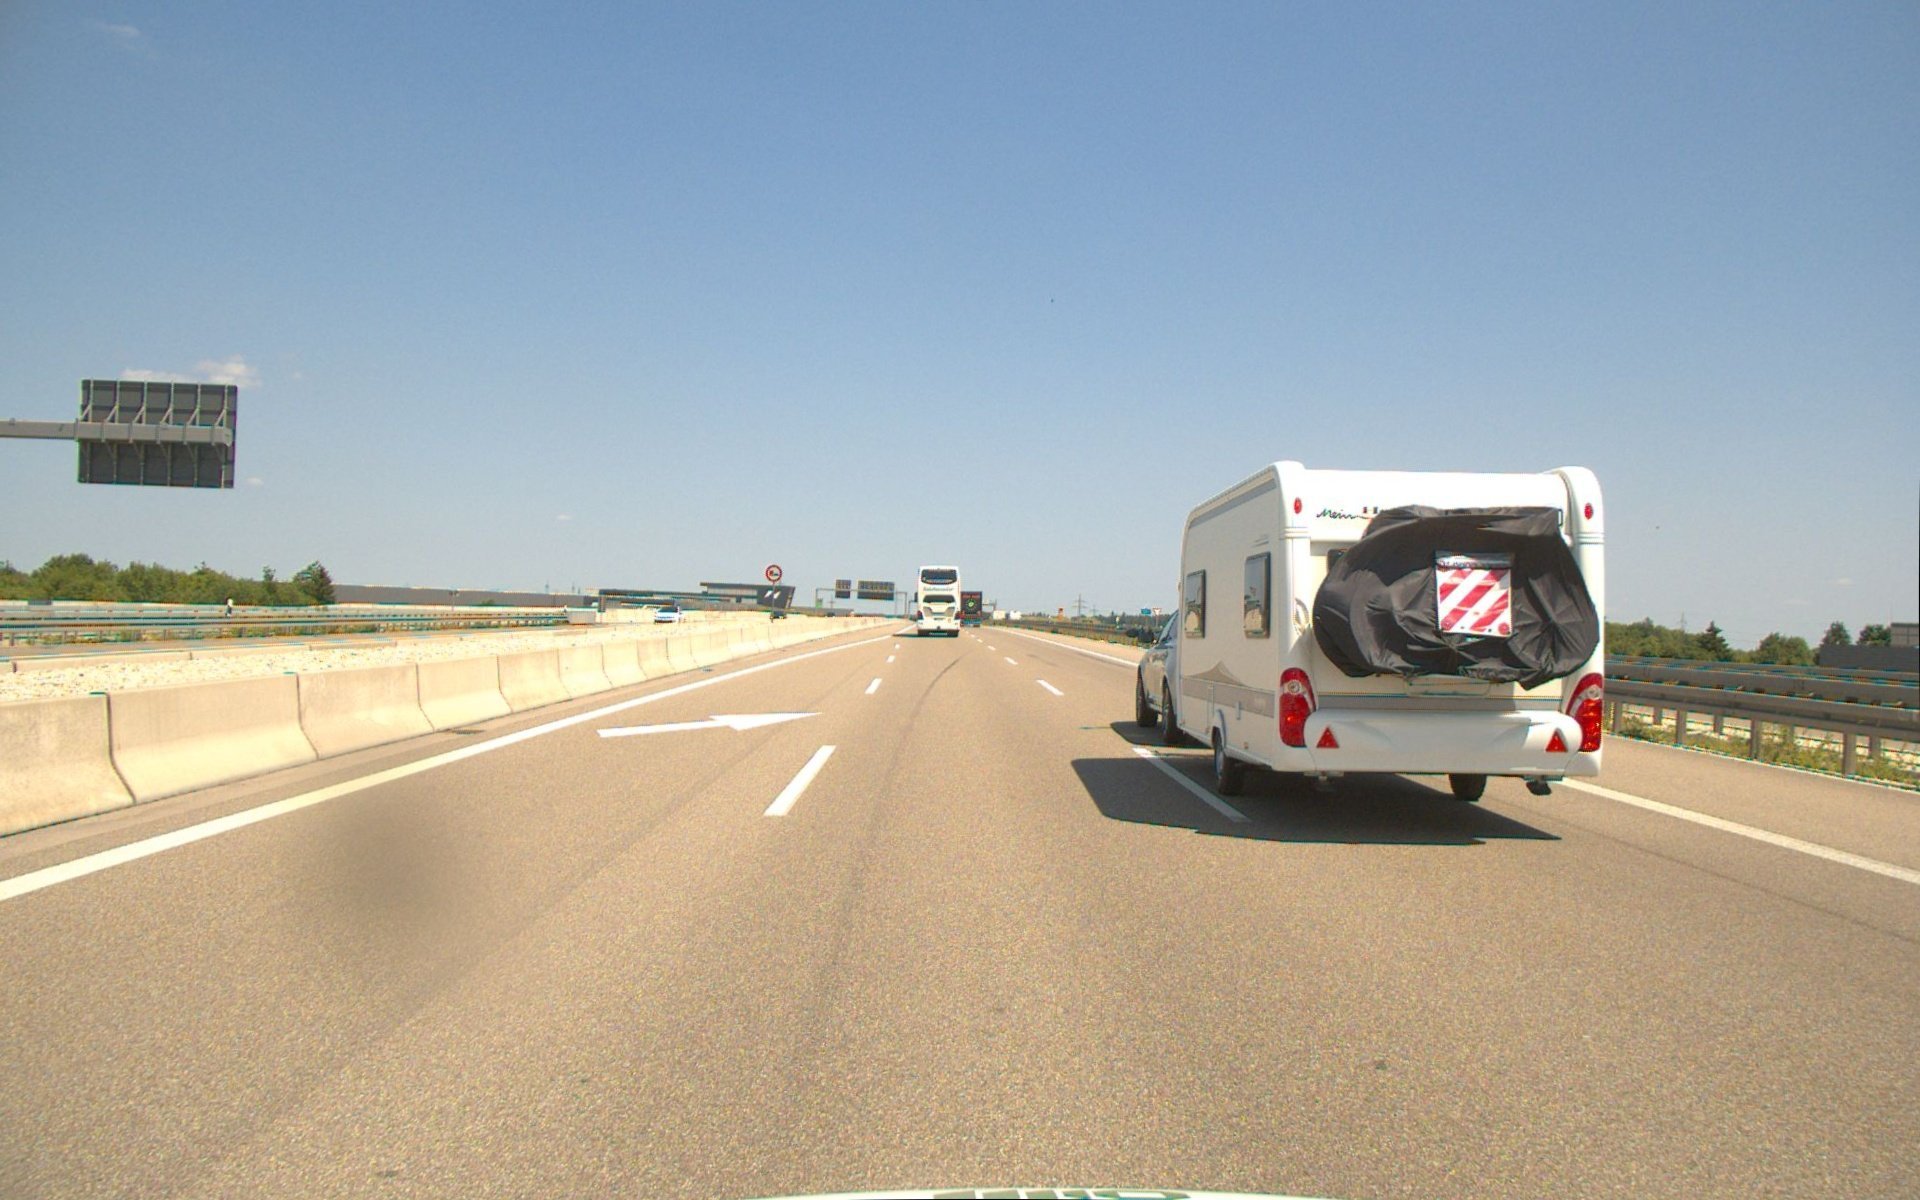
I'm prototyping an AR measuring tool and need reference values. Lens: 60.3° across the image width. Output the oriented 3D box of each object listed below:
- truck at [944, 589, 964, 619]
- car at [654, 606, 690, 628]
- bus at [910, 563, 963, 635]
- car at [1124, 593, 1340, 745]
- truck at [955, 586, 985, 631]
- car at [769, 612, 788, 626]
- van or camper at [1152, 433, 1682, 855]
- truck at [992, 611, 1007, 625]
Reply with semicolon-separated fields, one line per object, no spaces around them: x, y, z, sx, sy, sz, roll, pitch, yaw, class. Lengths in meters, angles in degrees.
-0.774;0.535;223.004;2.388;3.855;6.490;1;0;-2;truck
-20.200;1.199;116.103;1.772;1.460;4.440;1;0;-1;car
-1.468;-0.023;99.131;2.920;4.044;9.100;1;0;-2;bus
3.253;0.777;20.714;1.842;1.651;4.903;1;0;-1;car
1.146;1.081;195.832;3.310;4.543;13.564;2;-3;0;truck
-21.119;2.202;192.860;1.697;1.563;4.547;1;0;-1;car
3.356;0.290;14.403;2.461;2.638;7.817;1;0;0;van or camper
5.764;2.602;241.413;1.953;2.049;3.999;1;0;-1;truck
